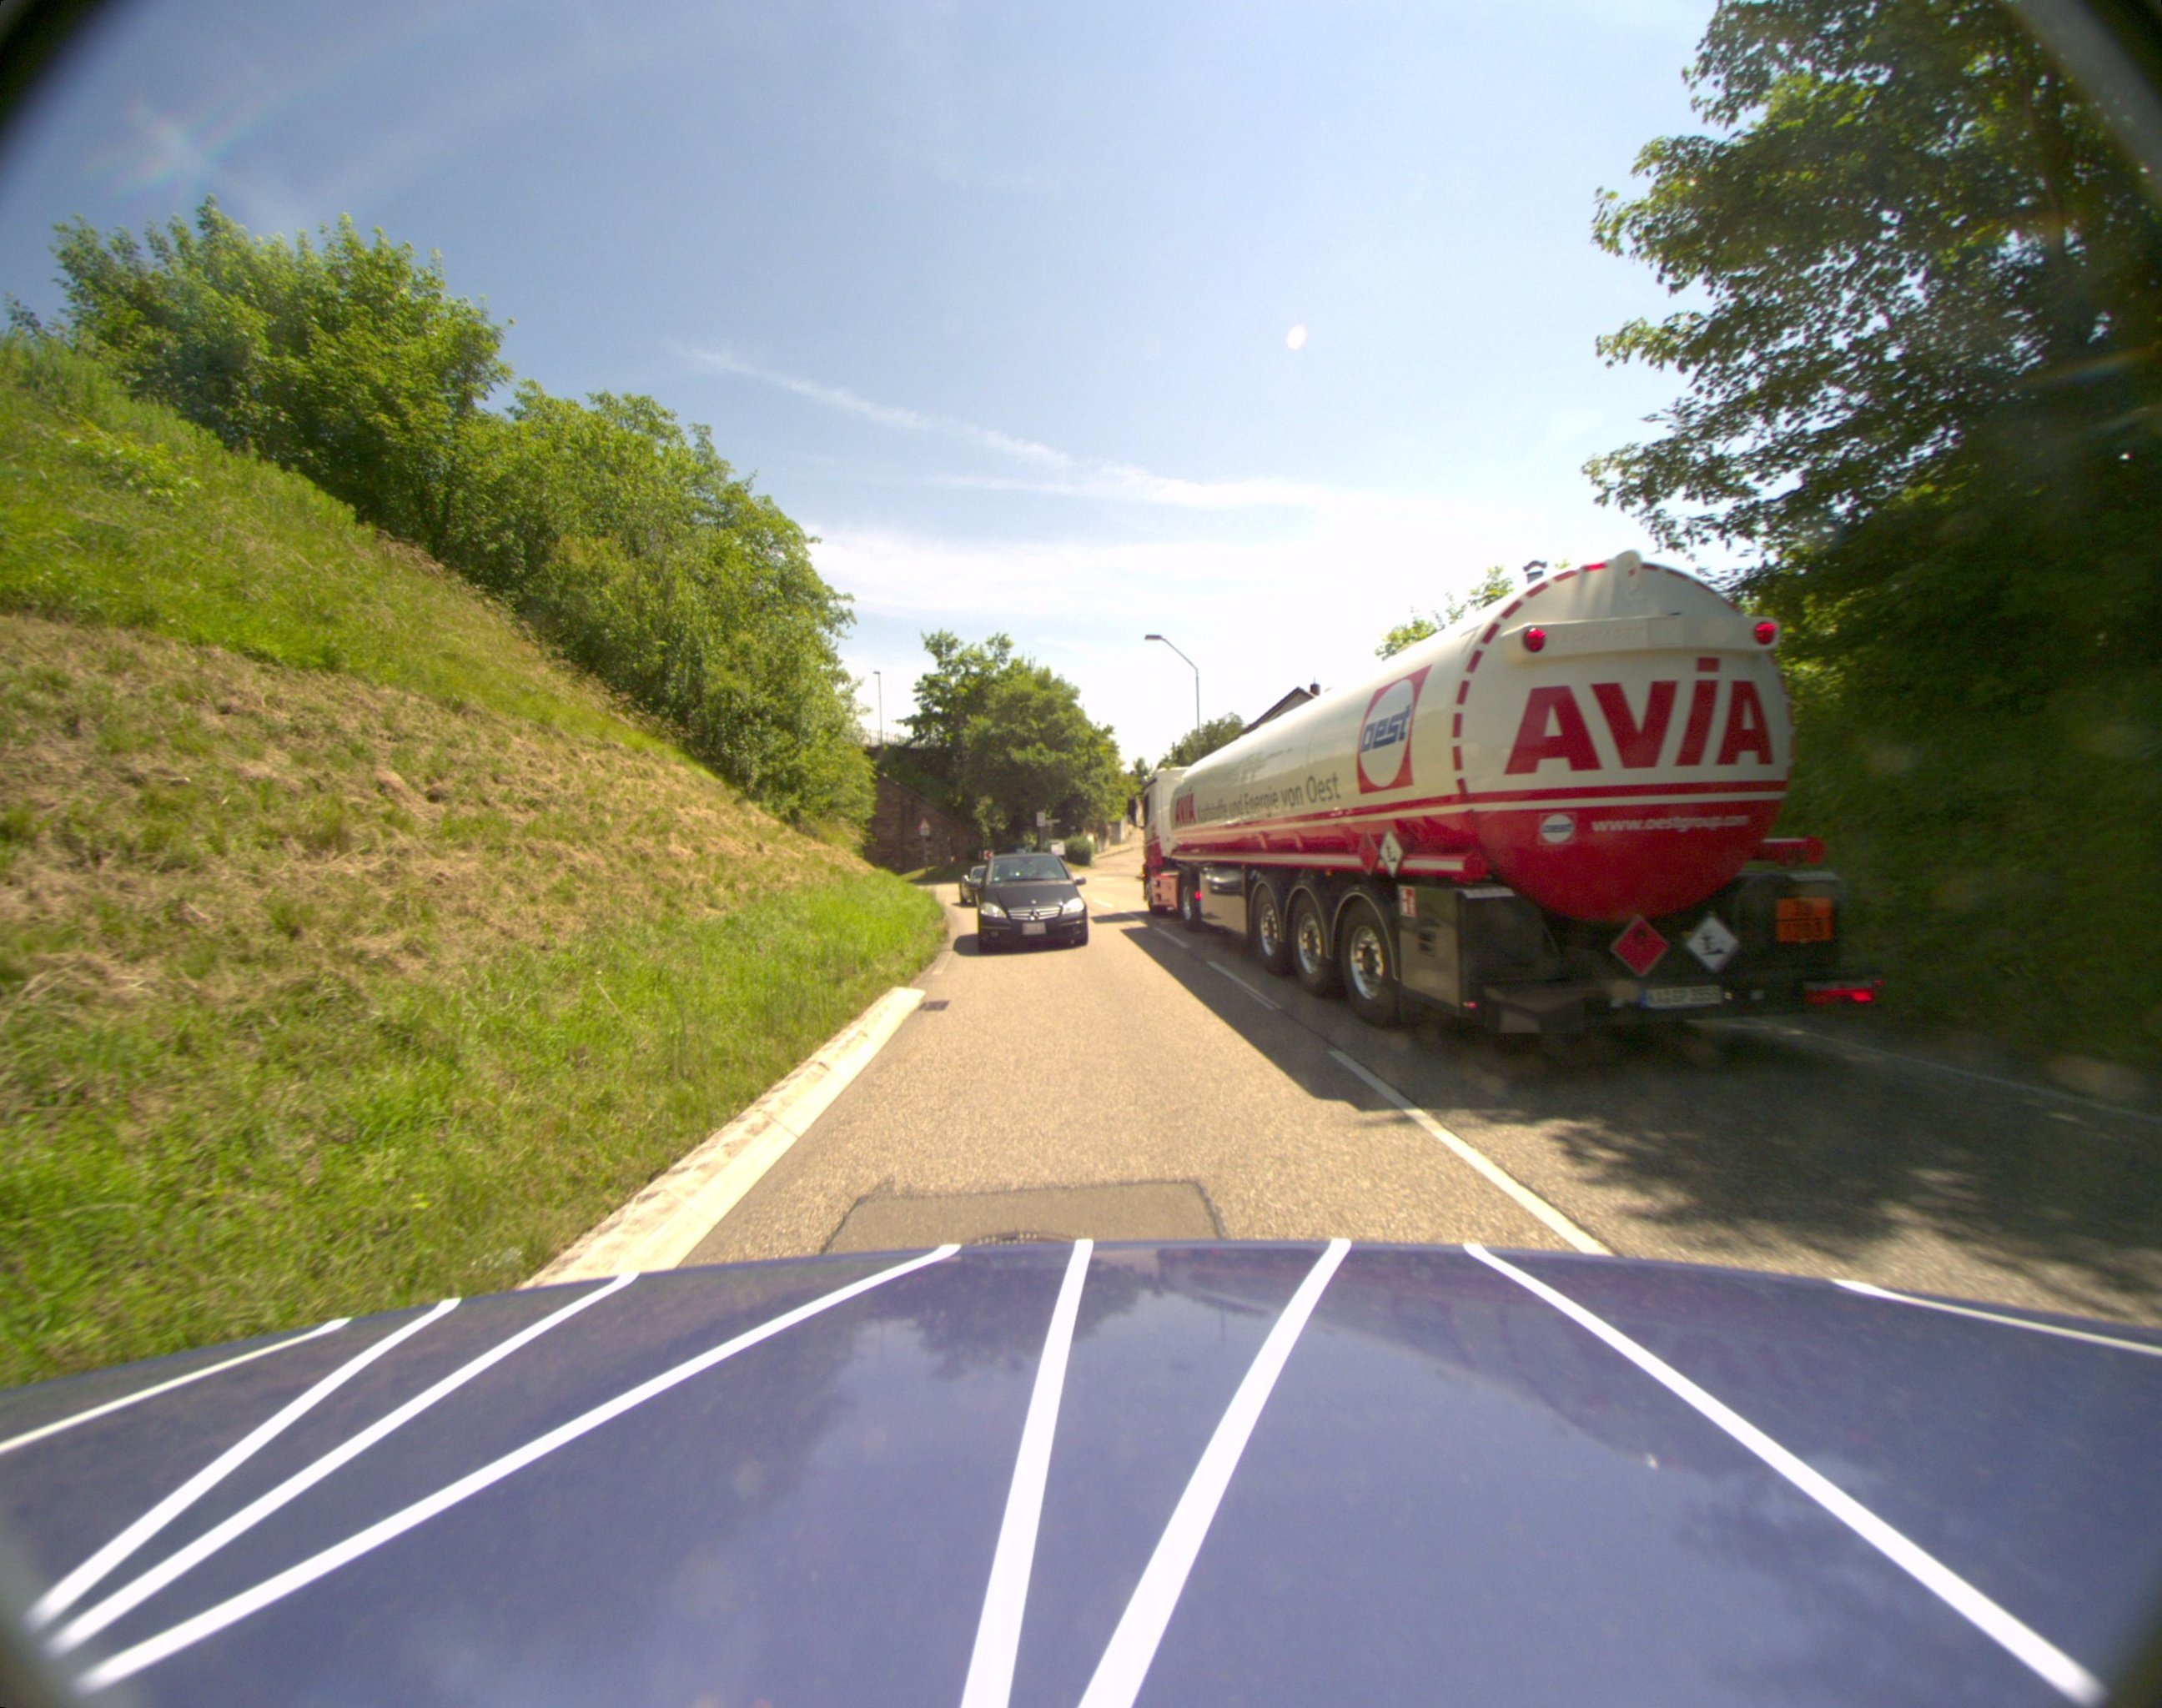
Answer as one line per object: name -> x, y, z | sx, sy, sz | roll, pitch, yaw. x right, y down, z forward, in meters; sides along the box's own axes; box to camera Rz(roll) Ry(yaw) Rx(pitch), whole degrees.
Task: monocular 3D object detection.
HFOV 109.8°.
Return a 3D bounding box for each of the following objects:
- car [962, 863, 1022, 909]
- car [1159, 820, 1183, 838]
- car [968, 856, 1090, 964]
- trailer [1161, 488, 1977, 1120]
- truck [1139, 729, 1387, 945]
car -> -2.939, 0.978, 24.606 | 1.649, 1.314, 3.434 | -1, 0, -11
car -> 8.767, -2.458, 73.916 | 1.997, 1.499, 4.000 | -3, 4, 11
car -> -0.985, 0.852, 13.481 | 1.796, 1.570, 3.797 | -3, 0, -6
trailer -> 3.305, -0.359, 9.681 | 2.640, 3.353, 11.137 | -2, 1, -4
truck -> 3.021, -0.306, 14.897 | 2.633, 3.152, 7.064 | -2, 1, -4
